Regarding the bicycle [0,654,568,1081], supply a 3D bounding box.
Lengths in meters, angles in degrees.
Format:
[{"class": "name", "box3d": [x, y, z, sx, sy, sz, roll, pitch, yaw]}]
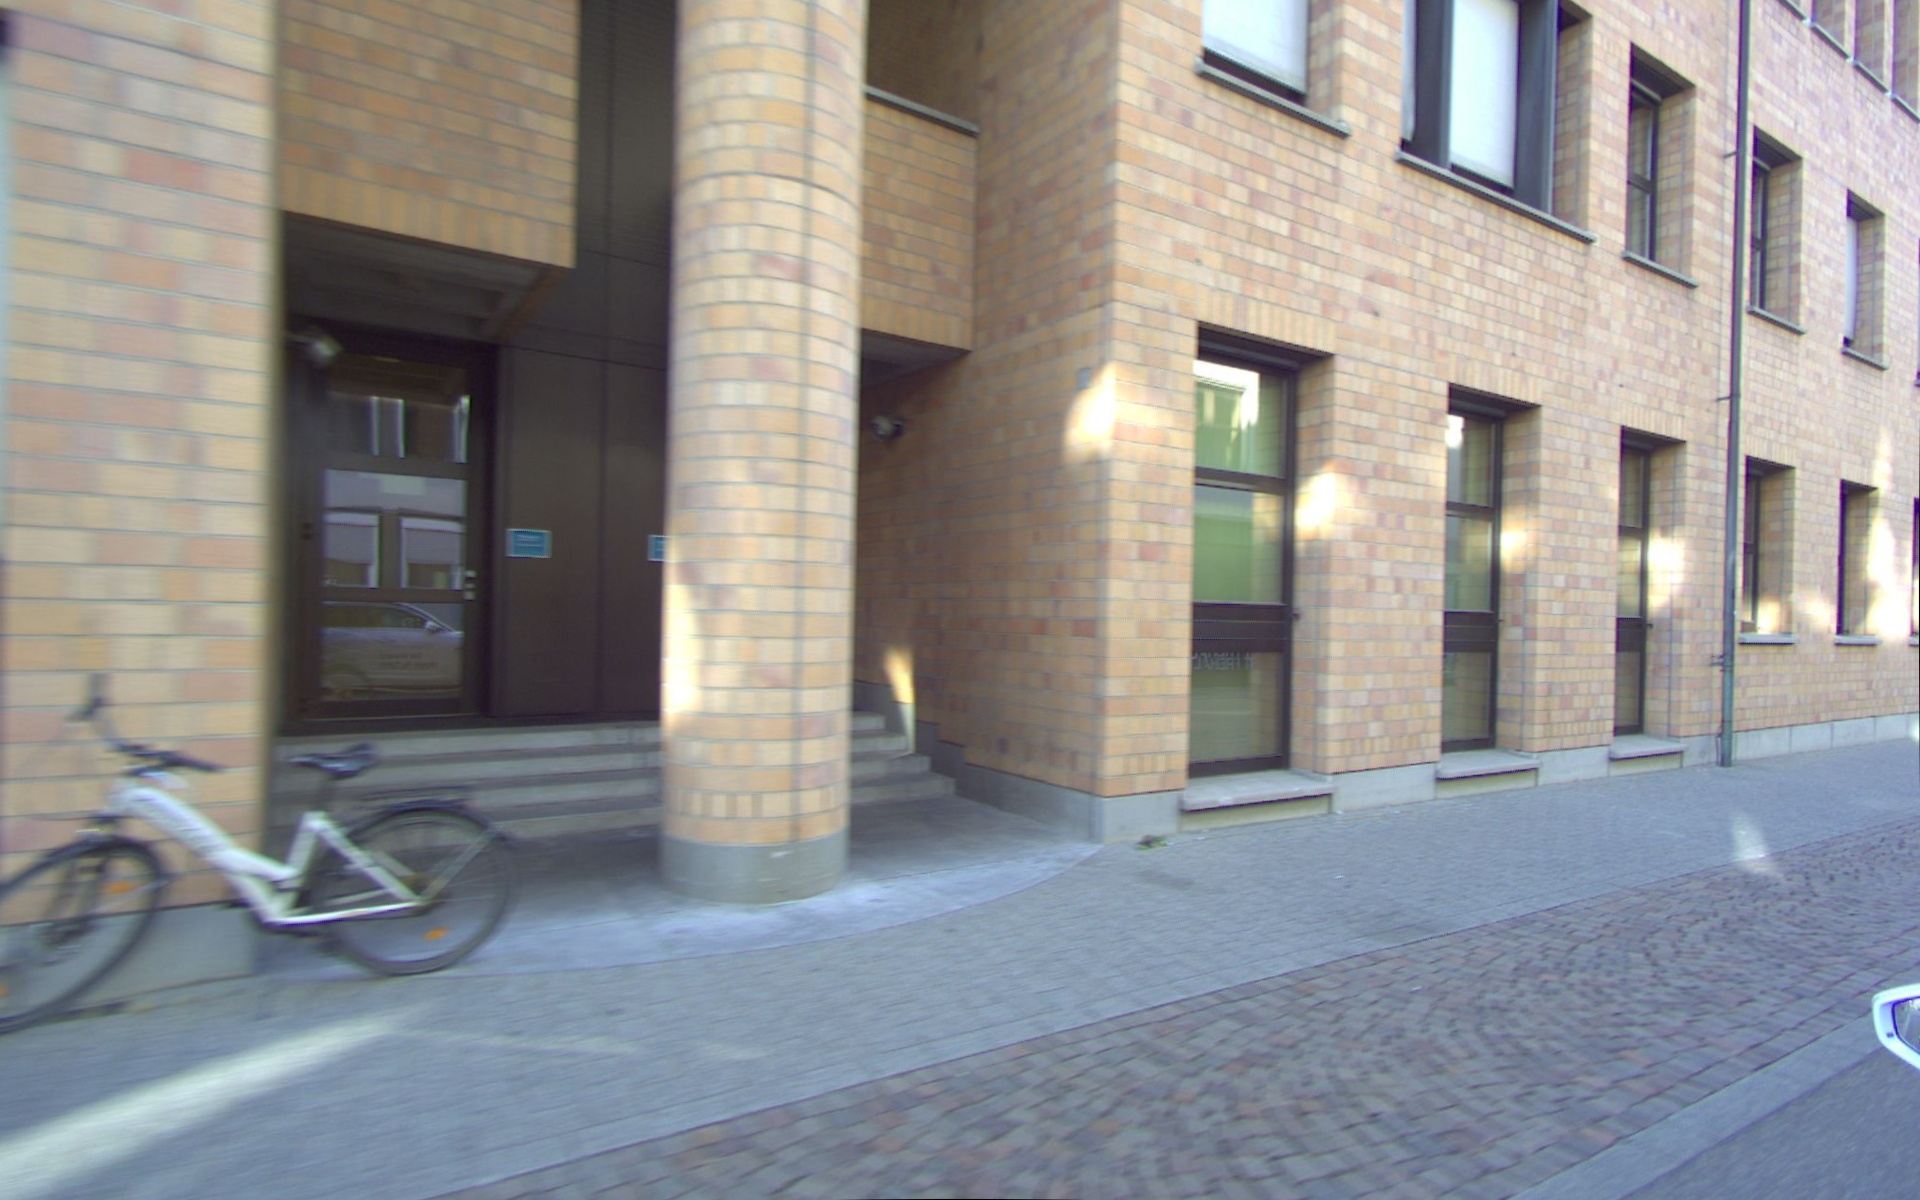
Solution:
[{"class": "bicycle", "box3d": [-2.455, 0.831, 3.661, 1.788, 1.178, 0.626, 1, 3, -39]}]
